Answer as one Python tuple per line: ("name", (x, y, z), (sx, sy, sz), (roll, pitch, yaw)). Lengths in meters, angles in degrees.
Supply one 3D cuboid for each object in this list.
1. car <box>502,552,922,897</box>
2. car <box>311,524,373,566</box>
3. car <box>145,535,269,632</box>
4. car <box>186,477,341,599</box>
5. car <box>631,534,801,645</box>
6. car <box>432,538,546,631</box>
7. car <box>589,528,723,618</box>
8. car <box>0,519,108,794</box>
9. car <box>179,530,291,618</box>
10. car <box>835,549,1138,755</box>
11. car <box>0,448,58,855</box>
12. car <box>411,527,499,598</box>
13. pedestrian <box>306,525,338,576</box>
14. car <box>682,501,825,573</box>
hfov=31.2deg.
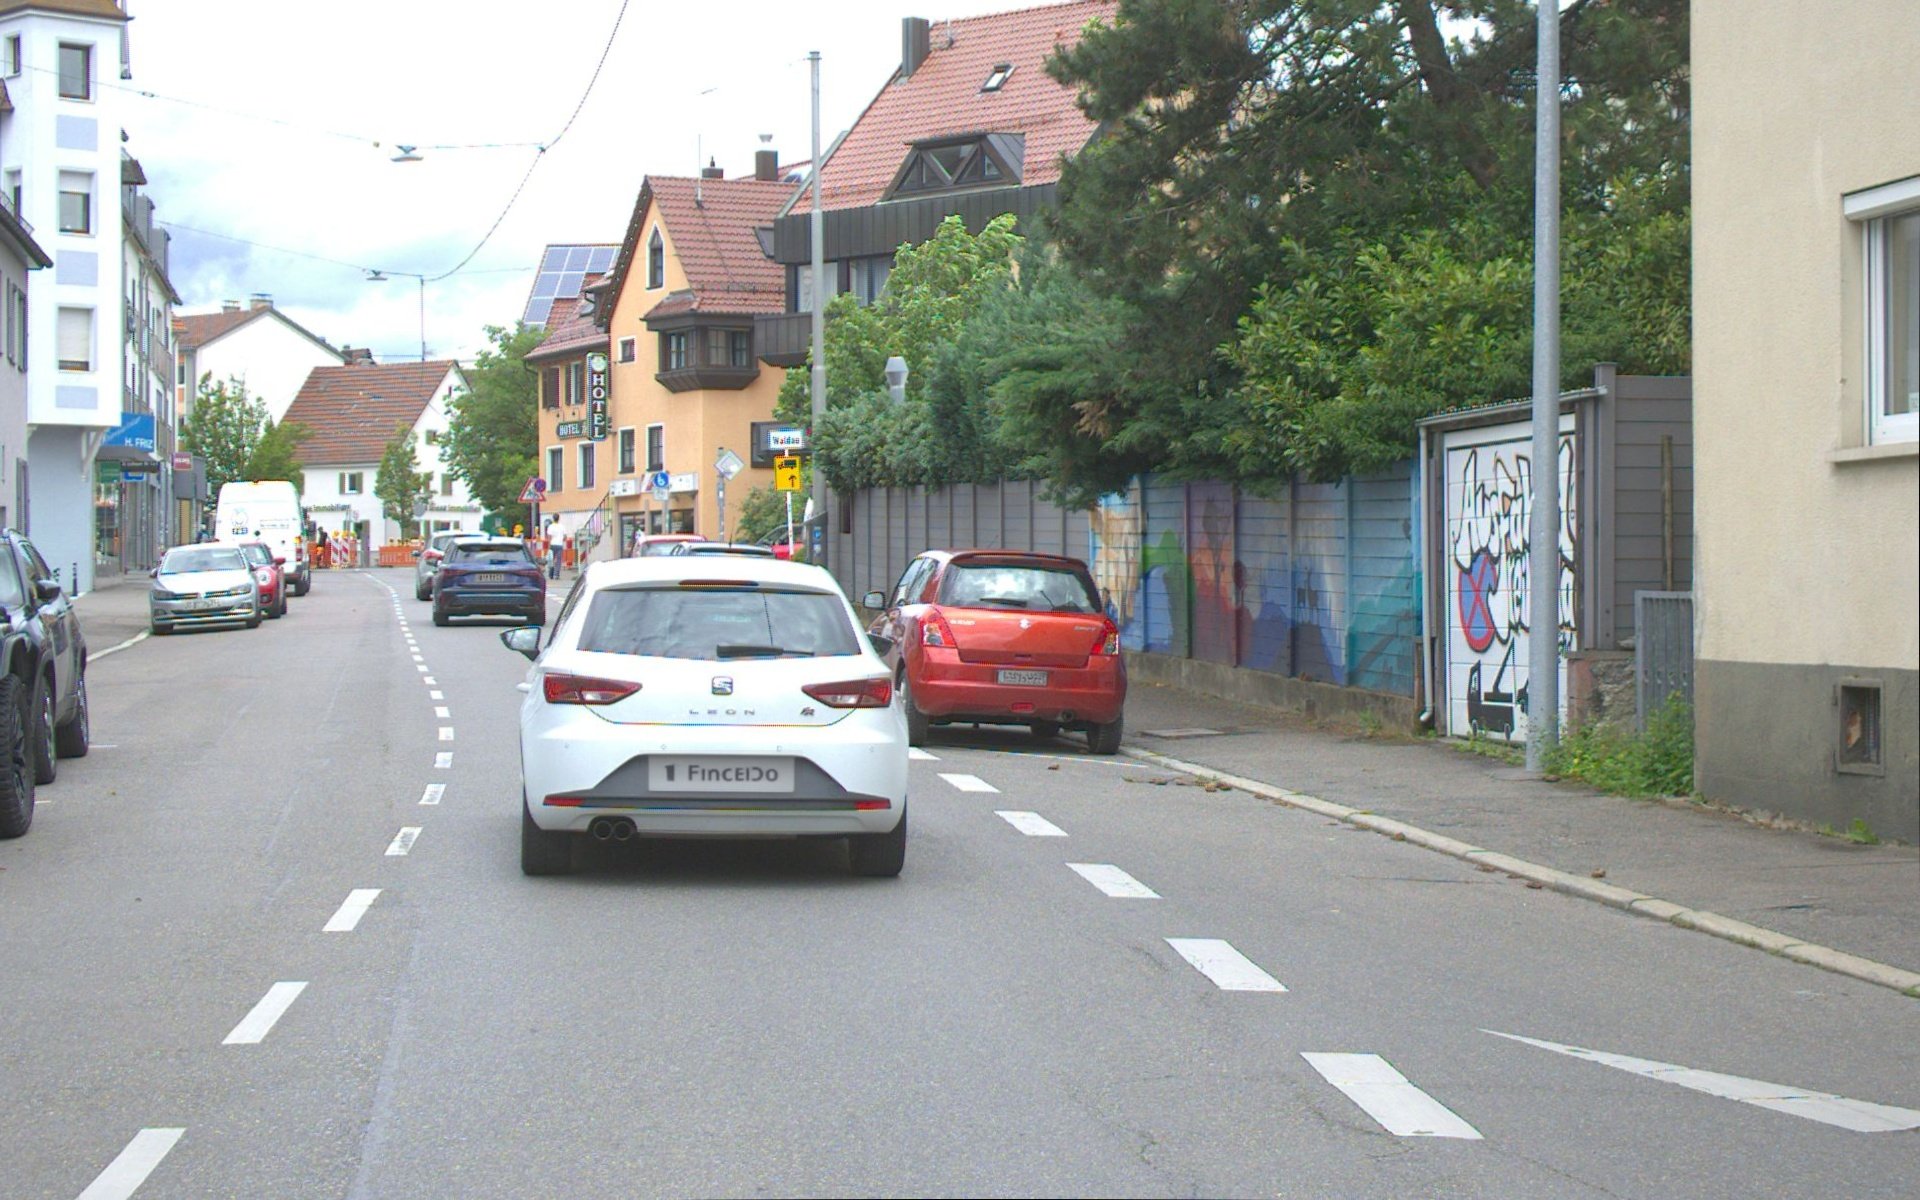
("car", (-1.317, 0.502, 16.687), (1.758, 1.447, 4.001), (0, 1, -8))
("car", (-25.936, -2.317, 144.335), (1.794, 1.696, 4.000), (1, 1, 1))
("car", (-12.597, -0.310, 57.692), (1.799, 1.474, 4.052), (-3, 2, -10))
("car", (-16.048, -1.438, 79.539), (2.152, 2.677, 5.544), (1, 1, 3))
("car", (-3.372, -0.176, 46.823), (1.758, 1.447, 4.001), (0, 1, -12))
("car", (-7.660, -0.277, 55.695), (1.758, 1.447, 4.001), (0, 1, -9))
("car", (-5.138, -0.470, 57.680), (1.758, 1.447, 4.001), (0, 1, -12))
("car", (-6.984, 0.319, 23.417), (1.896, 1.613, 4.527), (-2, 3, -9))
("car", (-13.306, -0.507, 63.273), (1.799, 1.474, 4.052), (-3, 2, -10))
("car", (0.129, 0.355, 27.209), (1.758, 1.447, 4.001), (2, 1, -8))
("car", (-5.687, 0.302, 16.290), (1.993, 2.006, 4.671), (-3, 2, -6))
("car", (-10.663, -0.802, 72.467), (1.758, 1.447, 4.001), (0, 1, -10))
("pedestrian", (-25.705, -1.994, 138.512), (1.228, 2.007, 1.176), (0, 1, -9))
("car", (-4.668, -1.425, 77.565), (2.807, 1.507, 1.709), (1, 2, -20))
